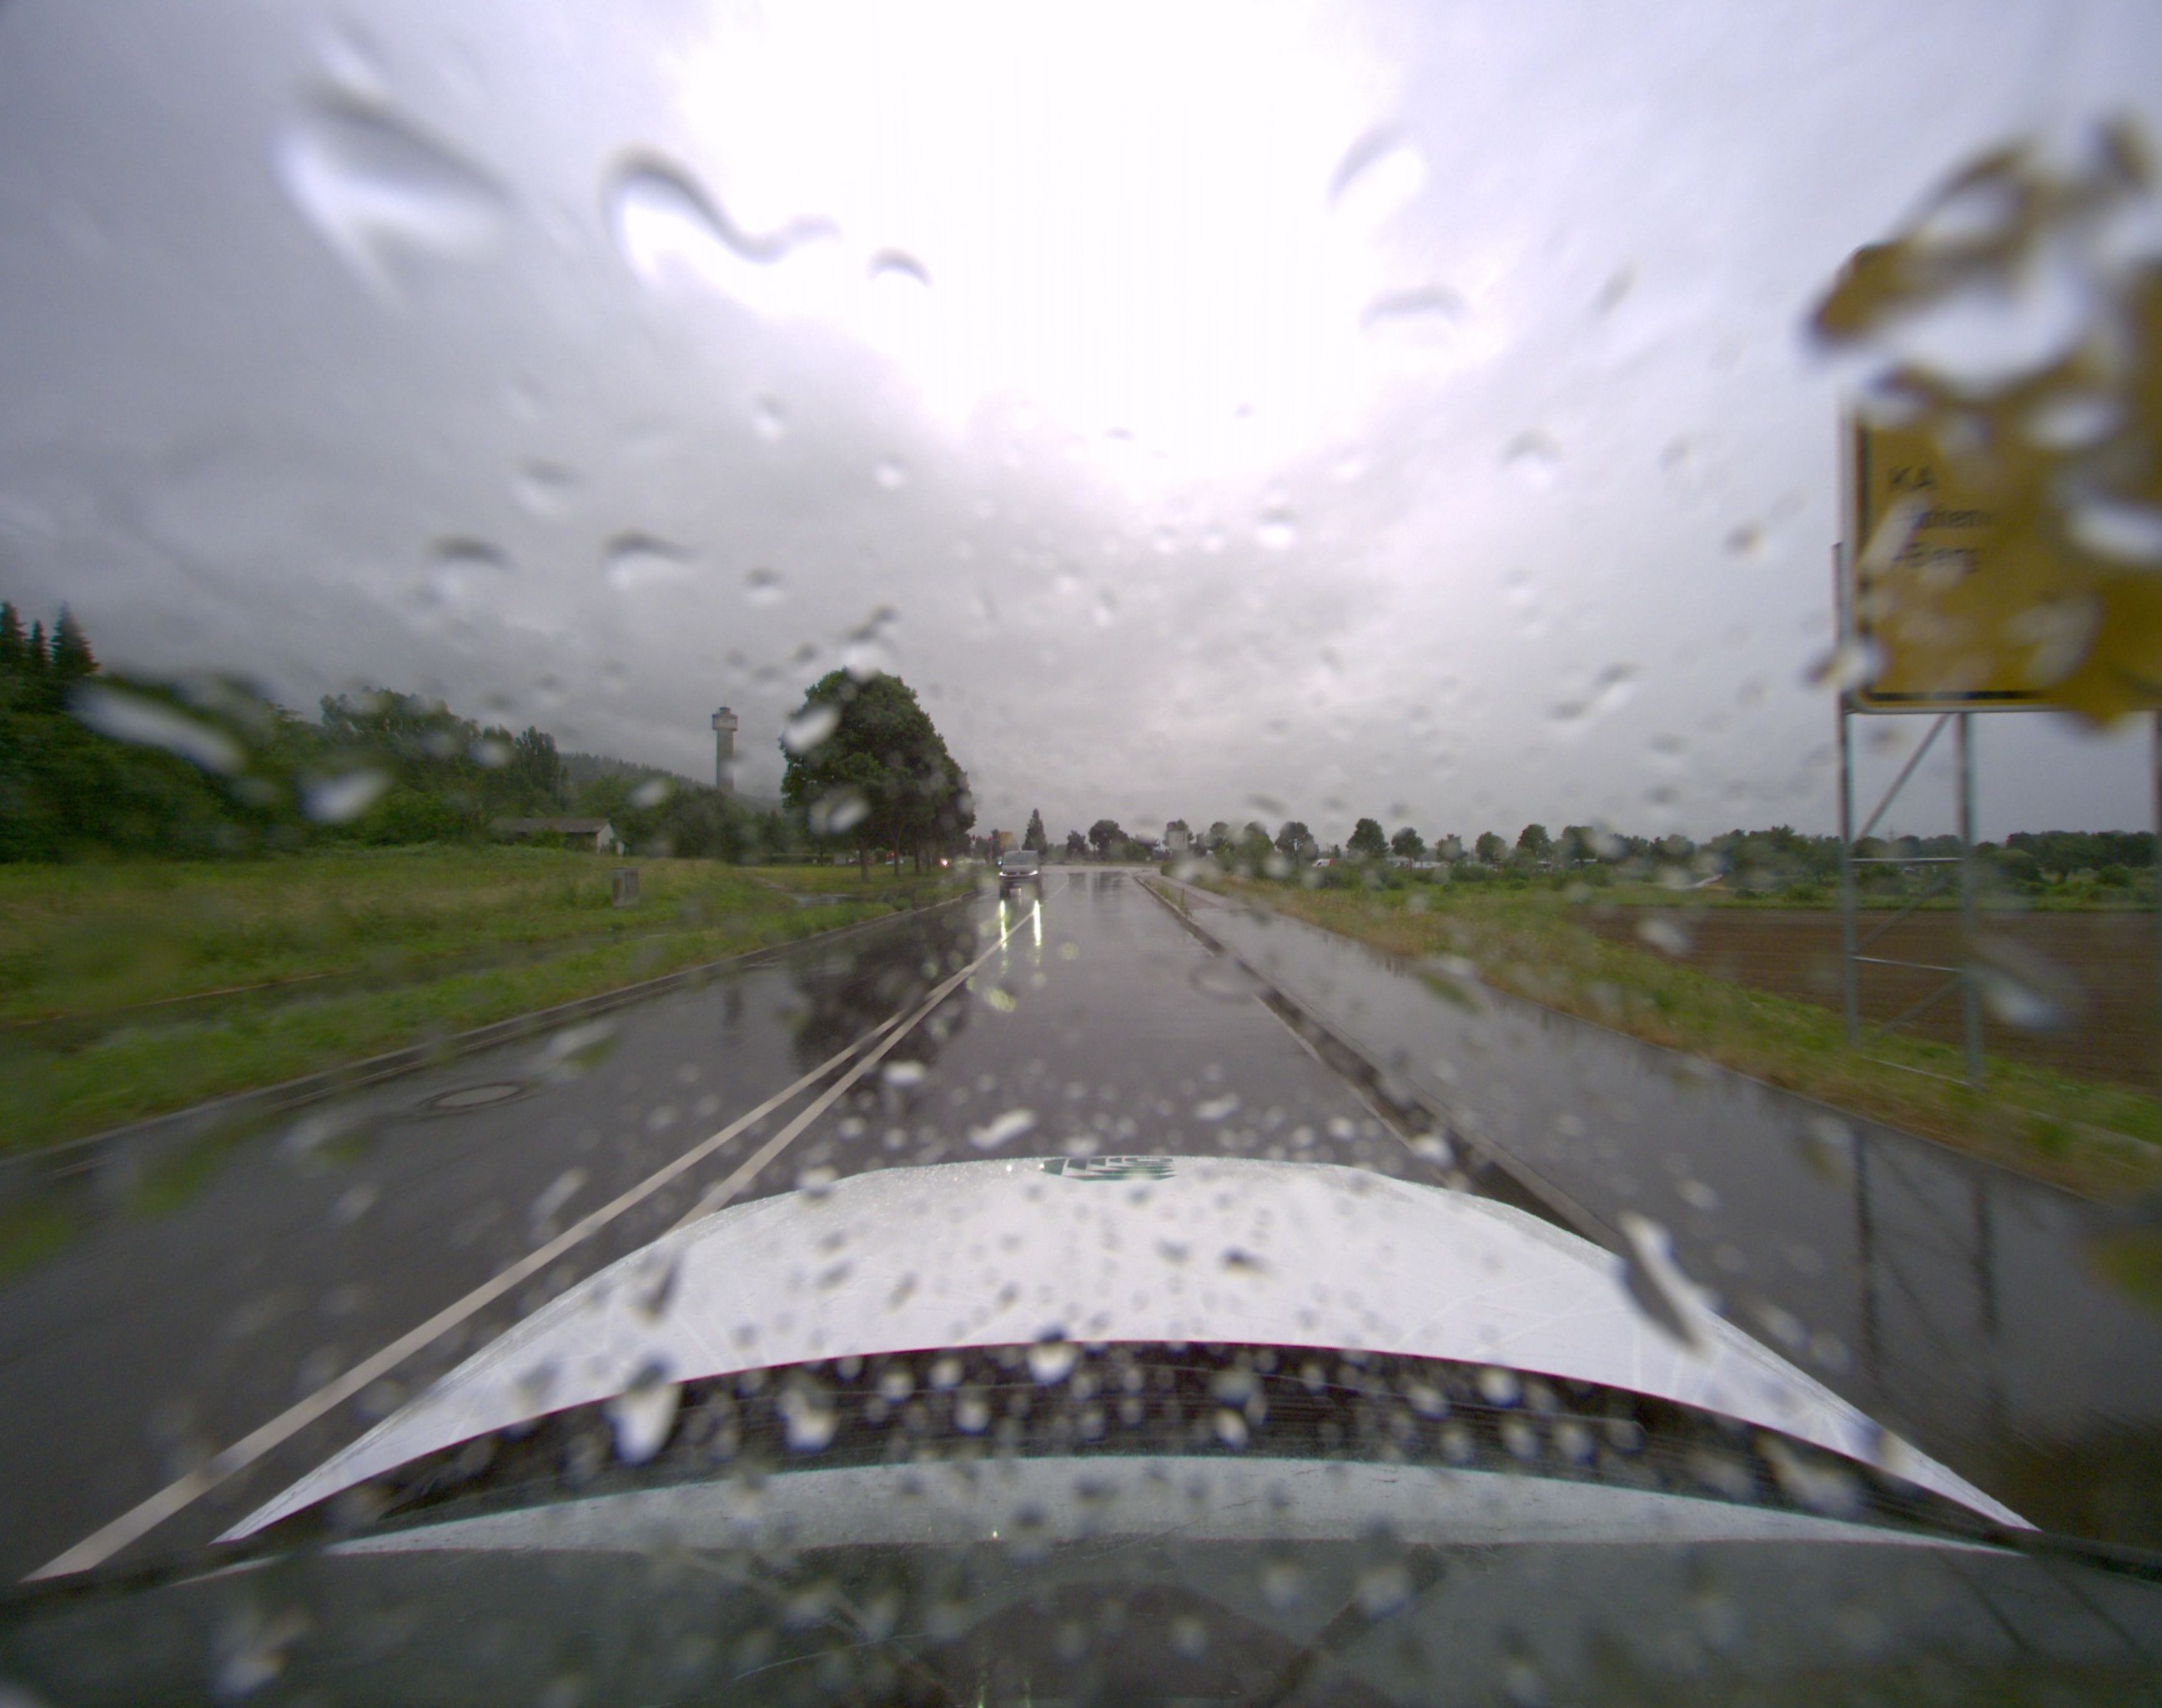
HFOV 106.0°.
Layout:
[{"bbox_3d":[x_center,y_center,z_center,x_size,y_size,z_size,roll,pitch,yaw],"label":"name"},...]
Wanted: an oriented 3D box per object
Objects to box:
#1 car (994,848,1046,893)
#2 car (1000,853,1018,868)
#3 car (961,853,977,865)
[{"bbox_3d":[-2.855,0.749,39.239,1.987,1.972,4.957,-2,0,1],"label":"car"},{"bbox_3d":[-10.113,0.876,114.093,1.996,2.013,3.982,1,0,-13],"label":"car"},{"bbox_3d":[-21.281,0.962,154.487,2.001,2.013,3.971,2,0,-22],"label":"car"}]
